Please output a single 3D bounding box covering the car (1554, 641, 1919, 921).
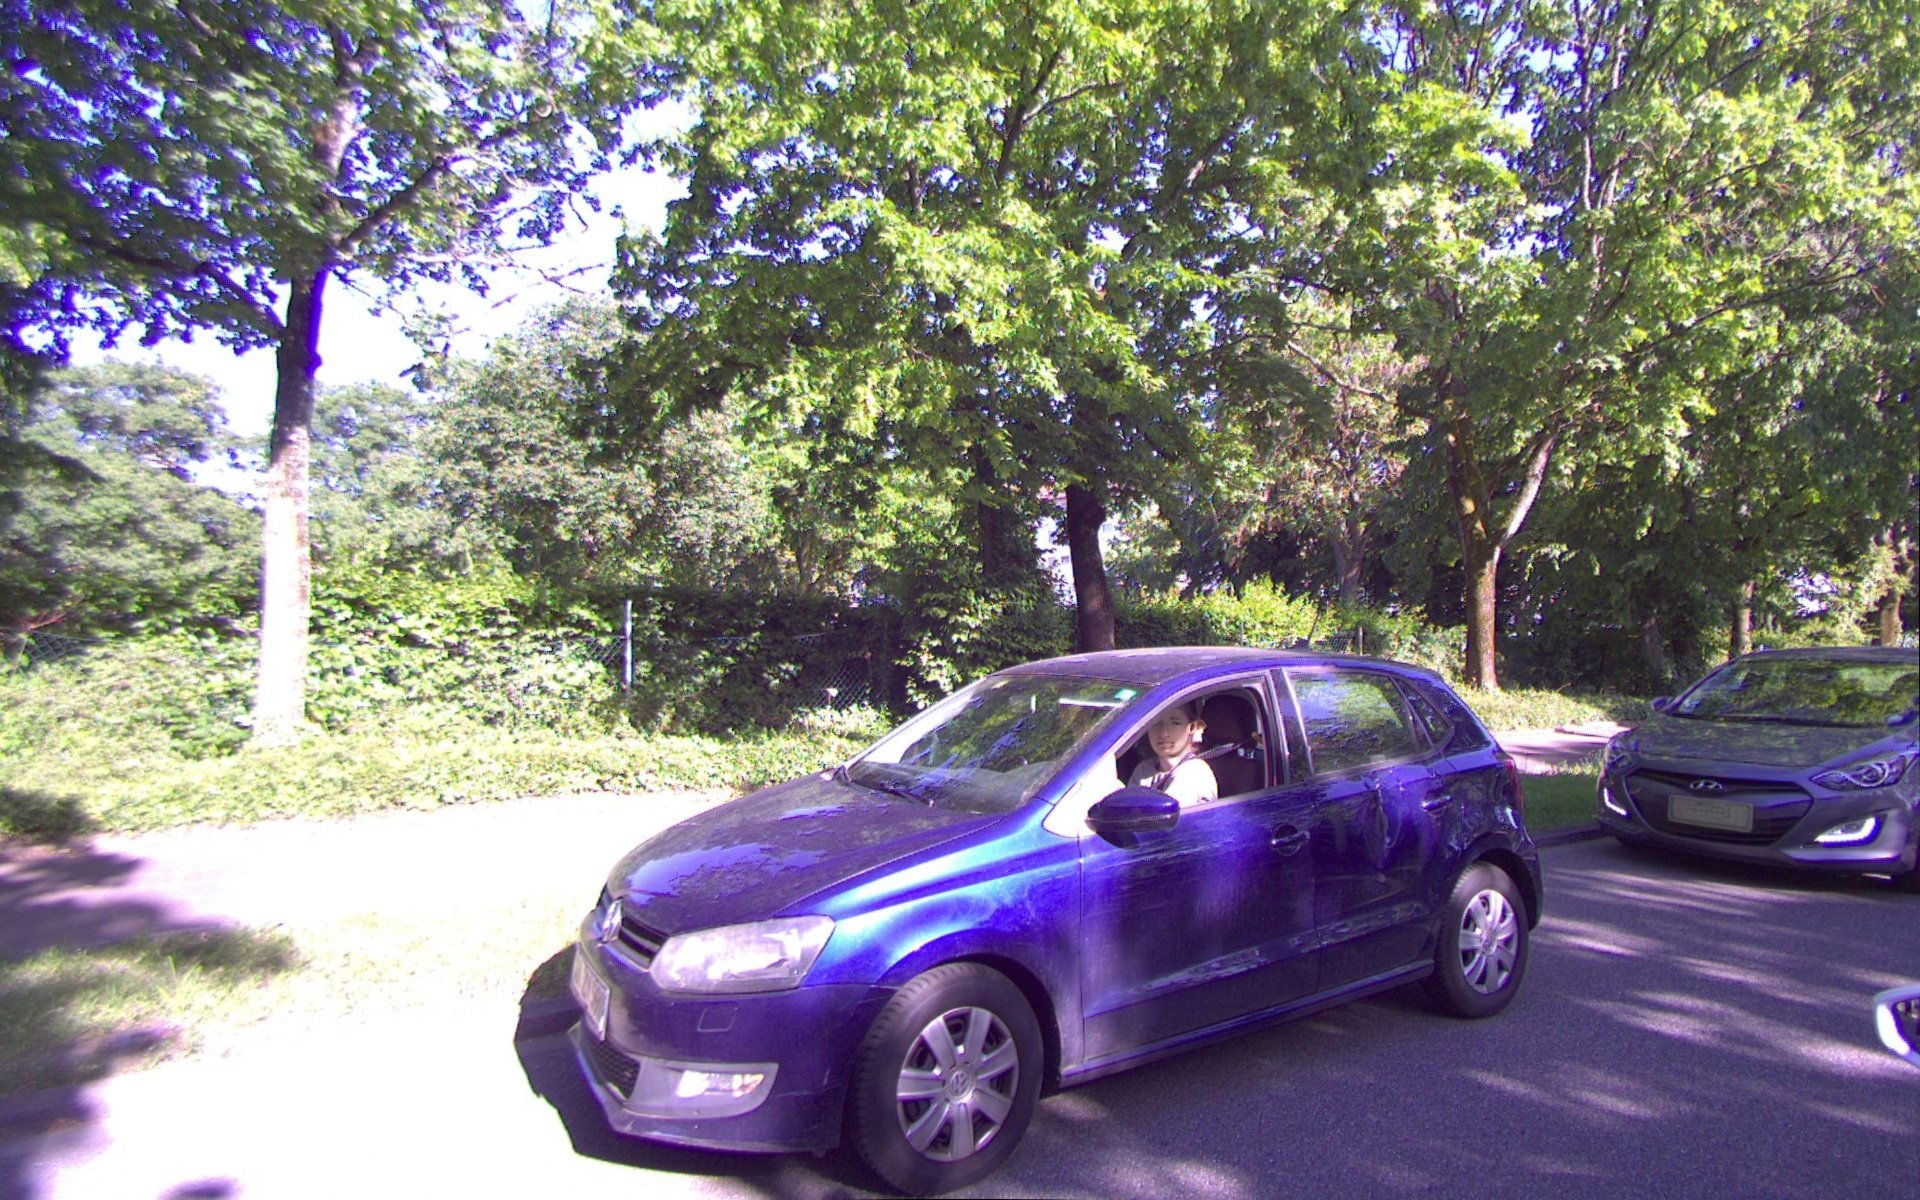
[{"bbox_3d":[6.334,1.047,7.260,4.195,1.473,1.747,1,-2,-31],"label":"car"}]

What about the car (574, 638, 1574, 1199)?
[{"bbox_3d":[0.540,0.884,3.884,3.608,1.445,1.594,1,-2,-30],"label":"car"}]
